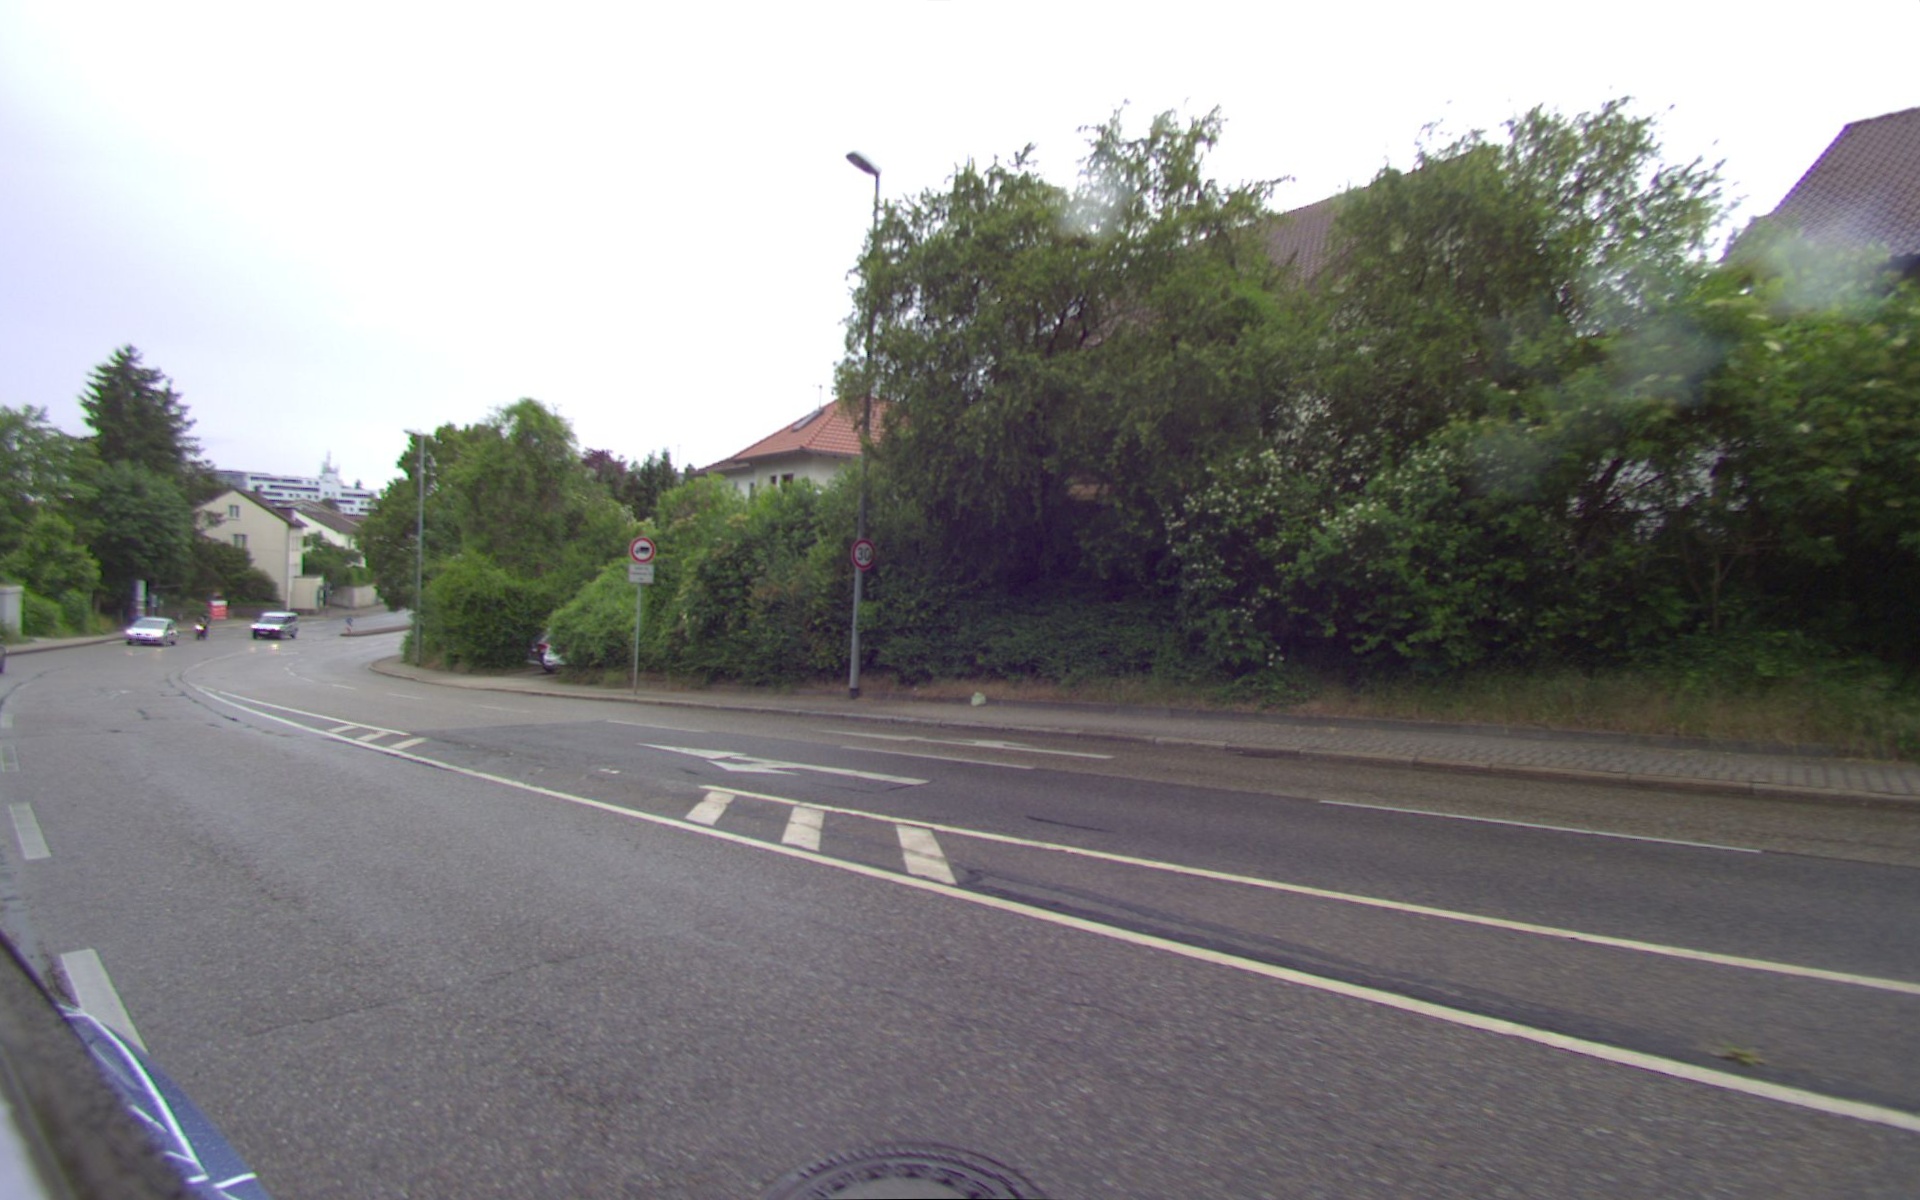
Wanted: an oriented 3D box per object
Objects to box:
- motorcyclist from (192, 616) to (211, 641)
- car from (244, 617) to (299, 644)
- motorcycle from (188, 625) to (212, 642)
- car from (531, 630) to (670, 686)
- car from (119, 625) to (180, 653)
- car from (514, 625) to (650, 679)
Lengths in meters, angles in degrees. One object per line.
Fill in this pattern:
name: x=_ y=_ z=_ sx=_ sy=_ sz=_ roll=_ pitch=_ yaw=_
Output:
motorcyclist: x=-50.361 y=1.890 z=67.202 sx=0.754 sy=1.655 sz=0.676 roll=3 pitch=-3 yaw=-19
car: x=-49.169 y=2.190 z=72.361 sx=1.750 sy=1.788 sz=4.009 roll=3 pitch=-4 yaw=-12
motorcycle: x=-50.273 y=2.209 z=66.945 sx=0.681 sy=1.061 sz=1.753 roll=4 pitch=-2 yaw=-19
car: x=-11.675 y=1.838 z=32.975 sx=3.853 sy=1.451 sz=1.814 roll=-3 pitch=1 yaw=-41
car: x=-45.931 y=2.207 z=57.439 sx=1.787 sy=1.450 sz=4.013 roll=4 pitch=-4 yaw=-26
car: x=-13.182 y=1.757 z=35.408 sx=3.939 sy=1.548 sz=2.002 roll=-3 pitch=1 yaw=-42
